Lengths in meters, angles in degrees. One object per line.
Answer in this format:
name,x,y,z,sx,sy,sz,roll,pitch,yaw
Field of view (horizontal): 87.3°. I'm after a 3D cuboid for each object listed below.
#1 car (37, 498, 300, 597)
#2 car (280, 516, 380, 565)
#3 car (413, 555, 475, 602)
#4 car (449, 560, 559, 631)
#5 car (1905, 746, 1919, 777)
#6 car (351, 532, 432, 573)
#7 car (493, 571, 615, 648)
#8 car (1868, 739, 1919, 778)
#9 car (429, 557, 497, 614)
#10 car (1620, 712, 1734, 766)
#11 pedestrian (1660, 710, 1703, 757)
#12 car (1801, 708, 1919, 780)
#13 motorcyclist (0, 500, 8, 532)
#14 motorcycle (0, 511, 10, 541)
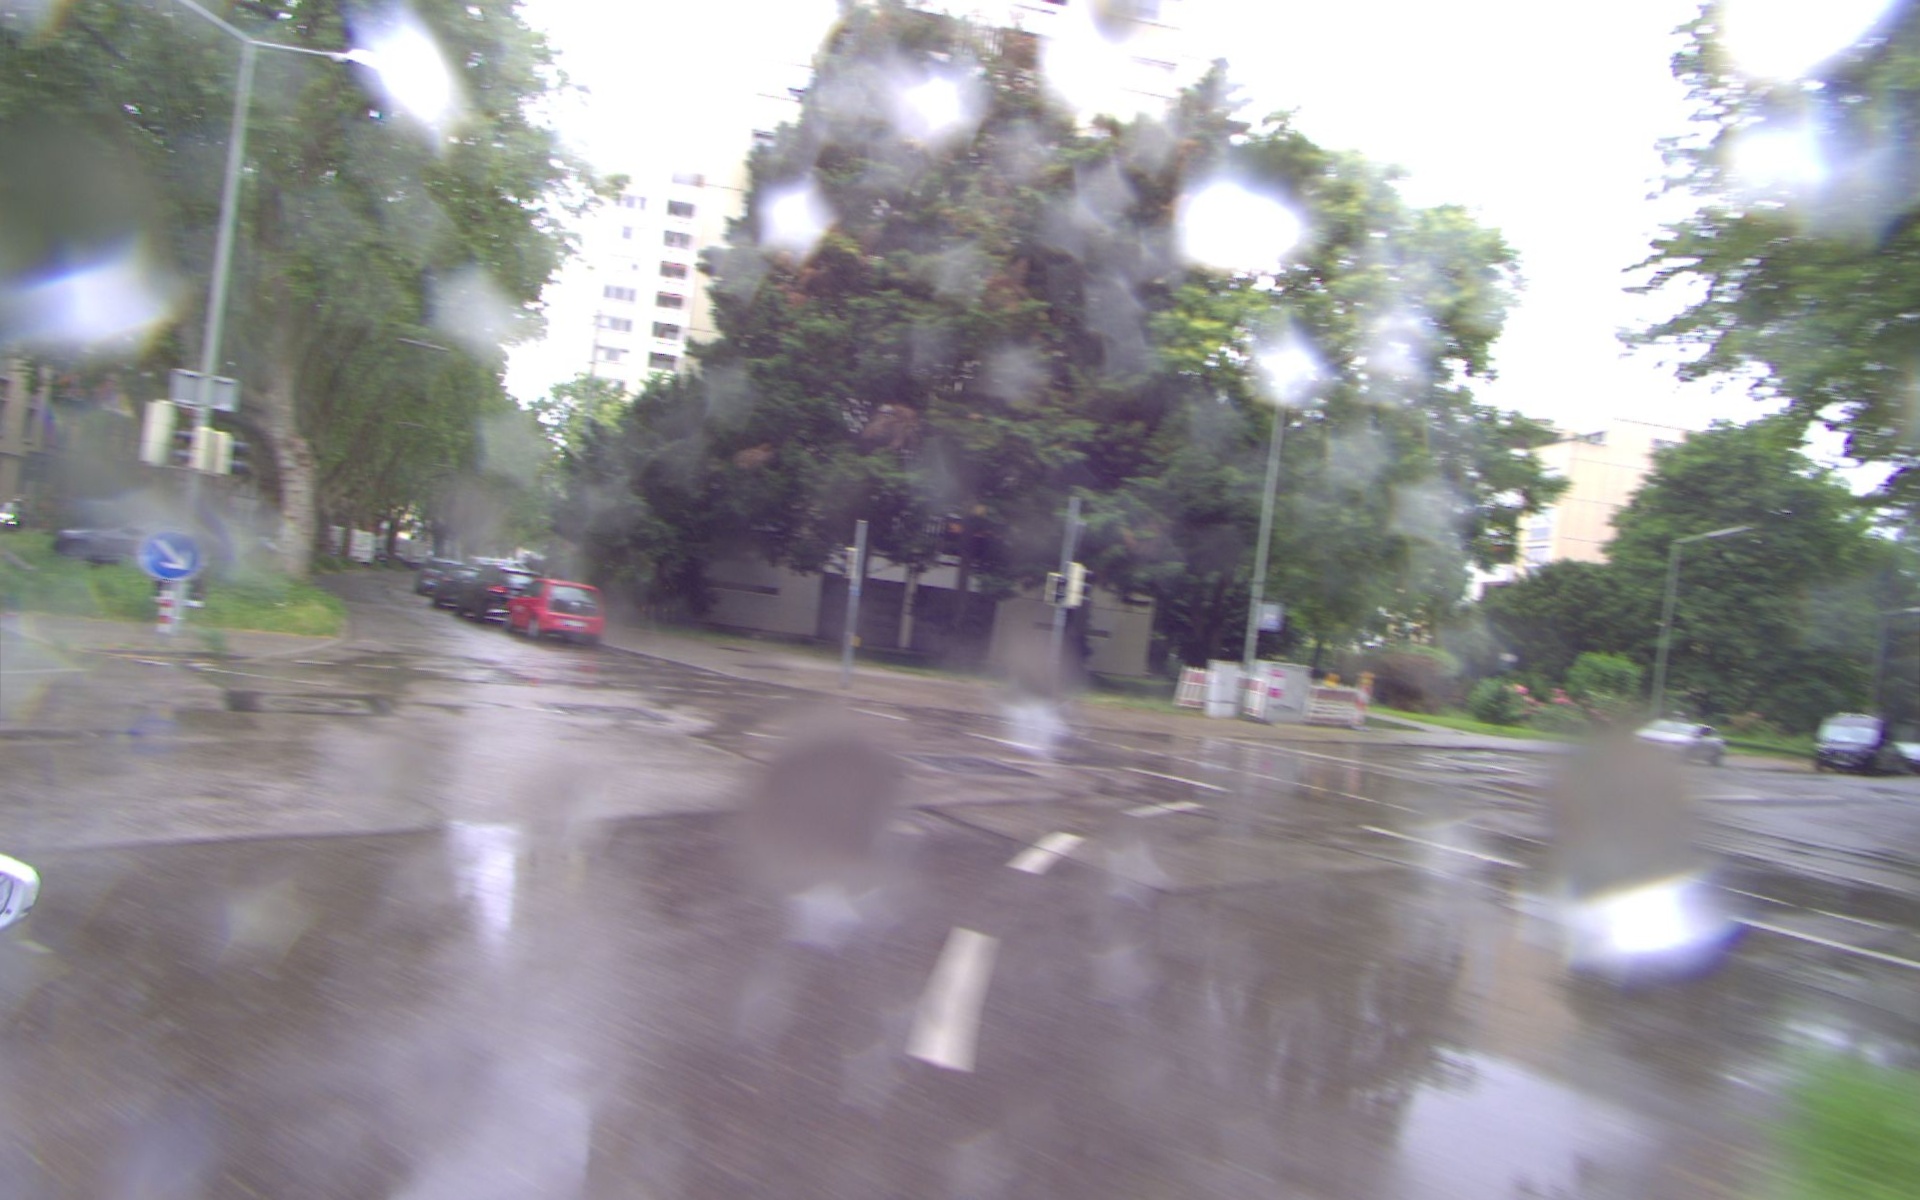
car,-19.118,-1.207,24.525,4.528,1.684,1.871,7,-1,-12
car,-41.880,-3.938,66.925,5.498,2.430,2.236,7,-1,13
car,-21.846,-0.942,42.521,1.912,1.652,3.968,7,-1,-31
car,-13.293,-0.172,29.173,1.924,1.627,4.412,8,-1,-36
car,52.548,8.824,53.867,3.965,1.557,1.981,8,-1,-35
car,-48.277,-4.058,85.401,5.857,2.681,2.002,7,-1,11
car,-10.228,0.202,25.231,1.828,1.543,3.425,8,-1,-38
car,46.801,7.852,49.683,3.965,1.557,1.981,8,-1,-35
car,-16.861,-0.521,34.087,1.819,1.615,3.463,7,-1,-28
car,25.652,4.980,35.960,4.231,1.477,1.807,8,-1,-33
pedestrian,28.720,5.307,40.063,0.919,1.681,0.936,7,0,-31
car,39.351,6.297,43.913,5.639,2.505,2.381,8,0,-34
motorcyclist,-41.975,-3.706,43.716,0.753,1.367,0.746,7,-1,-42
motorcycle,-42.054,-3.272,43.731,0.875,1.229,2.051,7,-1,-41
